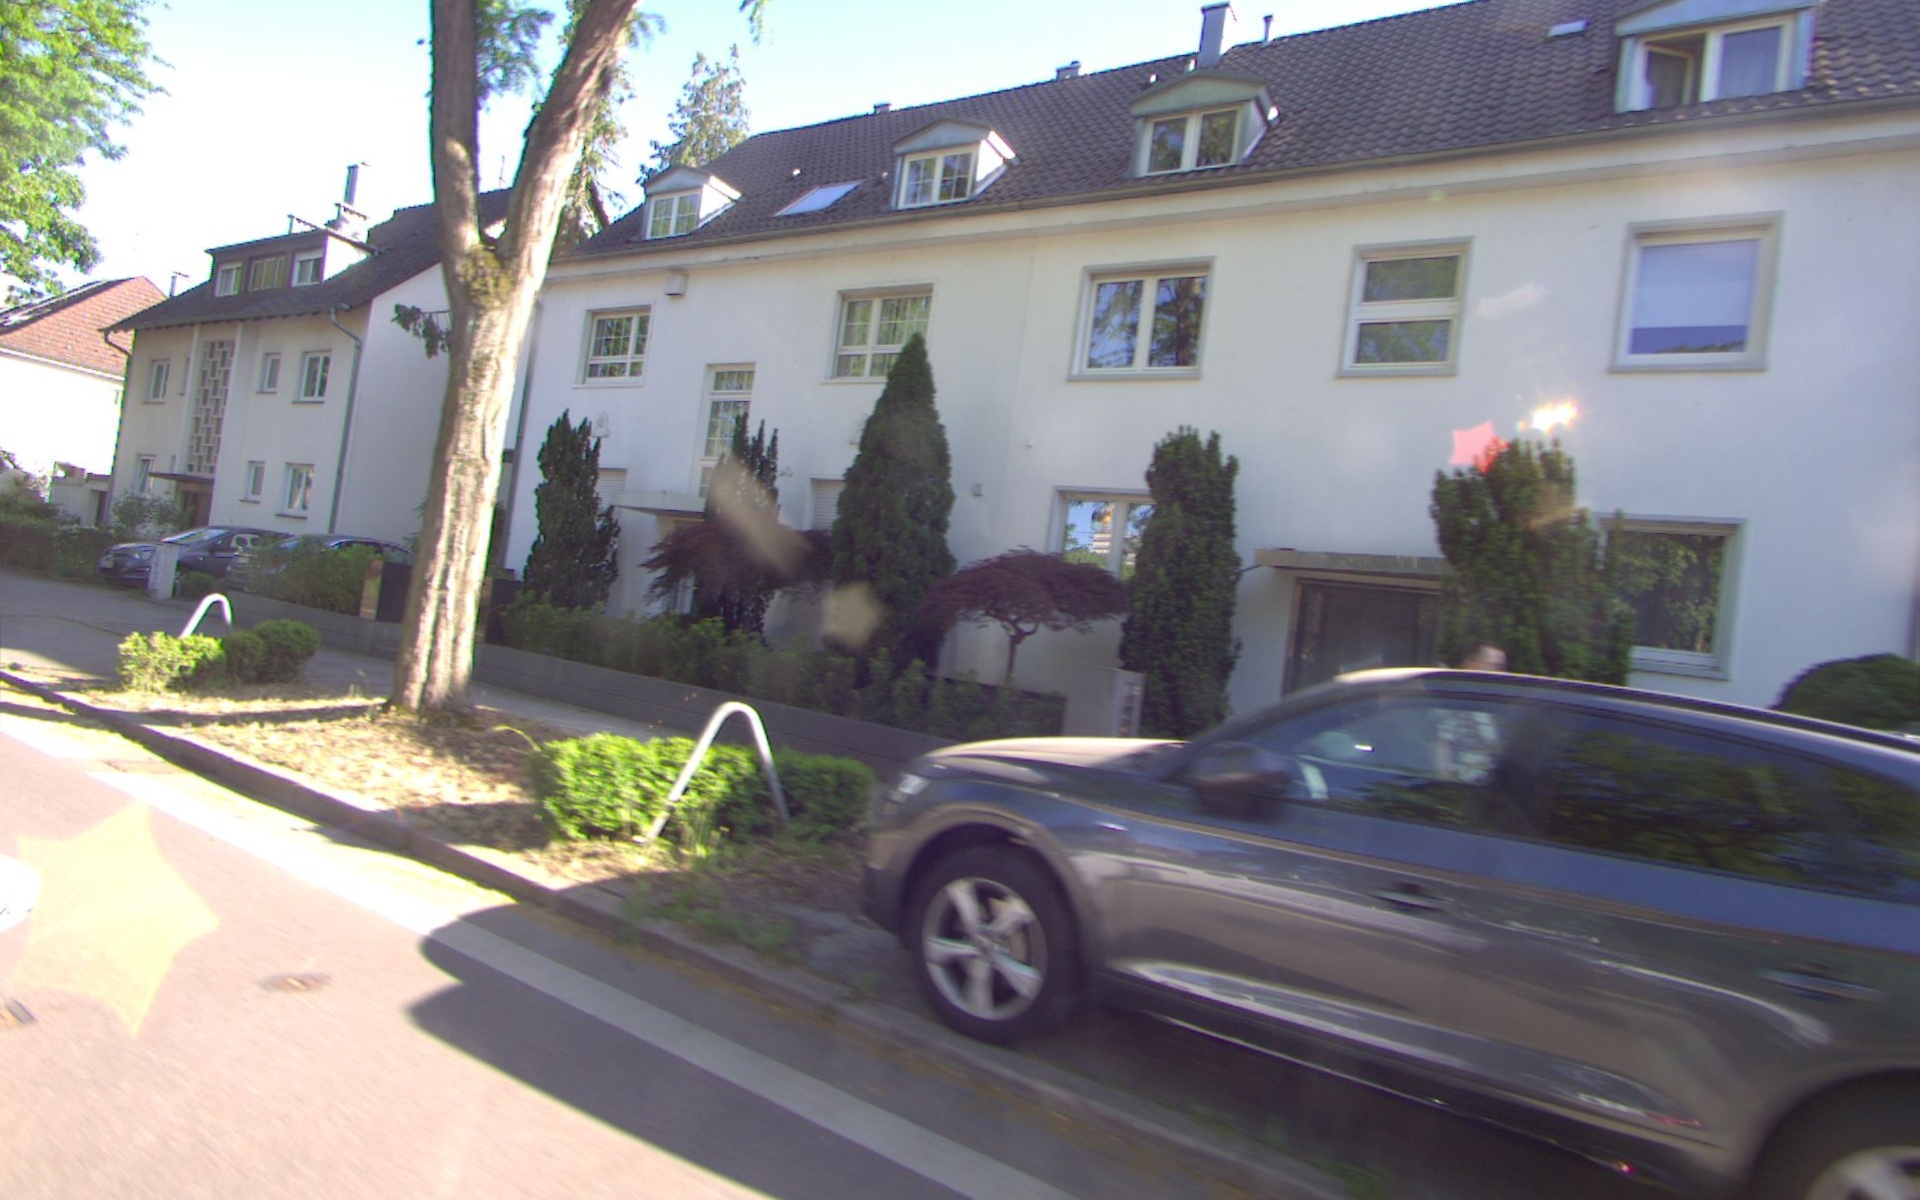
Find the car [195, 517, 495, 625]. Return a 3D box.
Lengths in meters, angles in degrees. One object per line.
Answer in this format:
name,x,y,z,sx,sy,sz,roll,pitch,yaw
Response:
car,-11.476,-0.470,19.092,1.828,1.508,4.423,7,0,34

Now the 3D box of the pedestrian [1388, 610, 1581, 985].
pedestrian,2.955,1.049,5.674,0.720,1.894,0.626,7,2,30

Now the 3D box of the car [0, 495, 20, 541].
car,-33.121,-2.908,32.604,1.702,1.453,3.410,7,-1,19

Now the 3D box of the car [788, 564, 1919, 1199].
car,1.738,0.984,3.966,4.402,1.726,1.995,7,1,31

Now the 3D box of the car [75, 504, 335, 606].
car,-15.137,-0.841,20.382,1.709,1.507,3.748,7,-1,26
